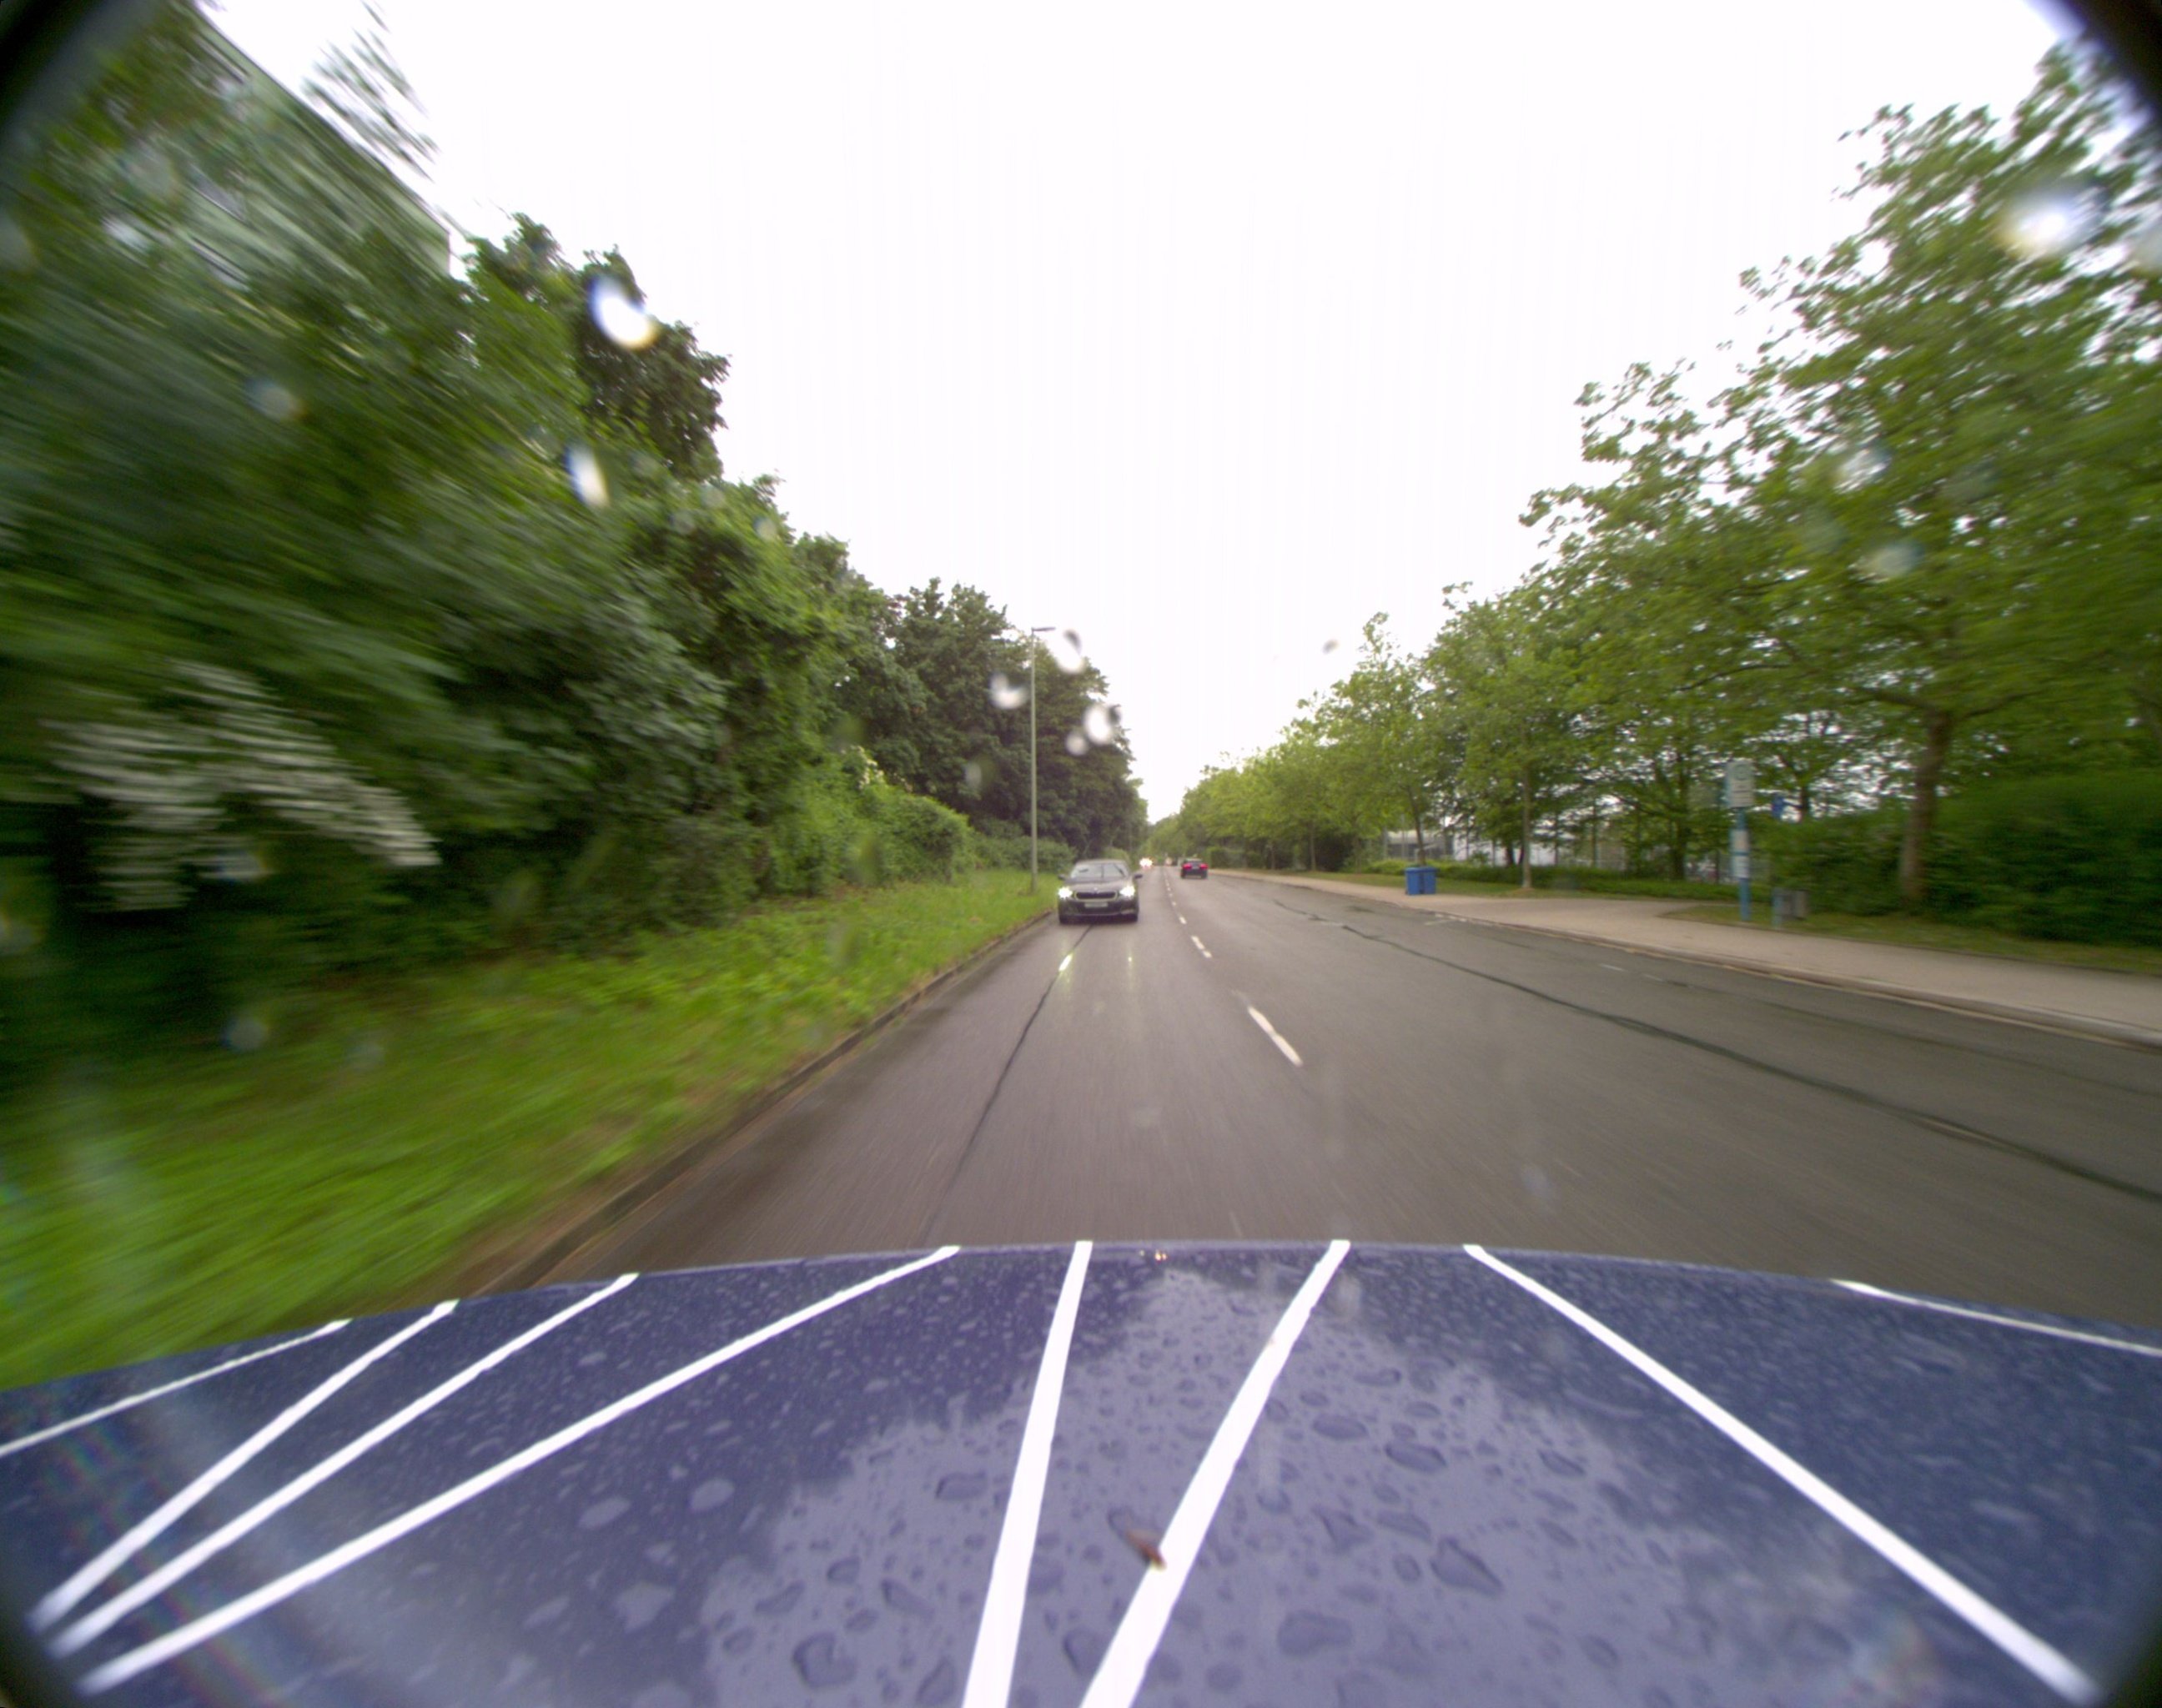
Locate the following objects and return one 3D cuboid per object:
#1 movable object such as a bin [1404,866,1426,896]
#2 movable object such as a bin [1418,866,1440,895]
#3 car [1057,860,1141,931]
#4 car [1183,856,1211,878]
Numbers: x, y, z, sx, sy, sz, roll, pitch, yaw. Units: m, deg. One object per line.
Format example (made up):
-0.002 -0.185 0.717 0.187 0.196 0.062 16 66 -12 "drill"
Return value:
12.903 1.031 29.378 0.567 1.092 0.672 -3 0 7 "movable object such as a bin"
13.548 1.013 29.622 0.567 1.092 0.672 -3 0 7 "movable object such as a bin"
0.453 0.955 19.358 1.832 1.499 4.499 -2 0 1 "car"
8.418 0.919 55.465 1.830 1.456 4.002 1 0 6 "car"
